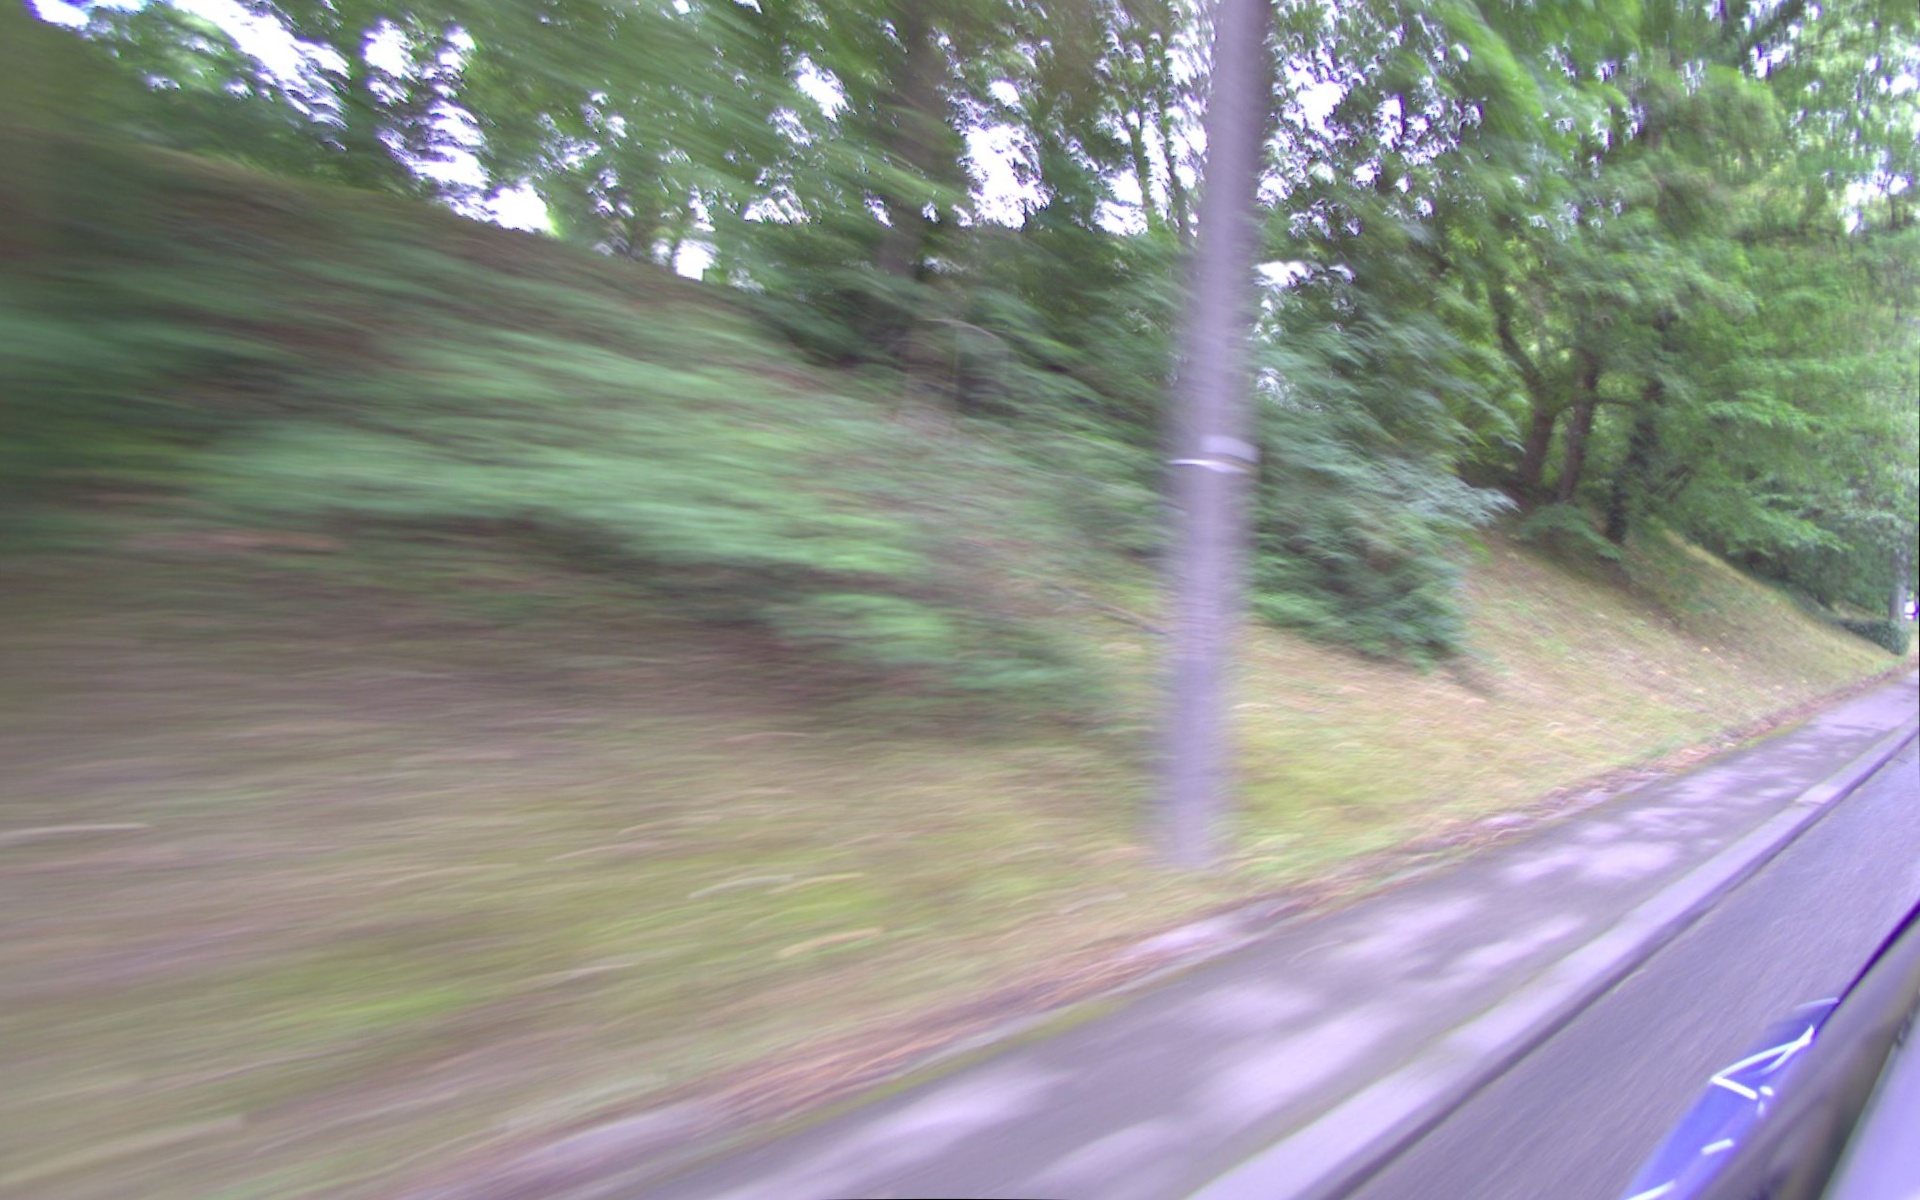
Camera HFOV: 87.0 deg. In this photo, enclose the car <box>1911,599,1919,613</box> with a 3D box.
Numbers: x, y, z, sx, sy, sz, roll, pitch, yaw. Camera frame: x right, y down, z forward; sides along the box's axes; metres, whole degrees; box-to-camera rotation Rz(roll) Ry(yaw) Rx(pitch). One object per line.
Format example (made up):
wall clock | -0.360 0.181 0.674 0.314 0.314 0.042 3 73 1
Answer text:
car | 124.153 0.739 130.627 1.818 1.716 4.223 0 1 42
